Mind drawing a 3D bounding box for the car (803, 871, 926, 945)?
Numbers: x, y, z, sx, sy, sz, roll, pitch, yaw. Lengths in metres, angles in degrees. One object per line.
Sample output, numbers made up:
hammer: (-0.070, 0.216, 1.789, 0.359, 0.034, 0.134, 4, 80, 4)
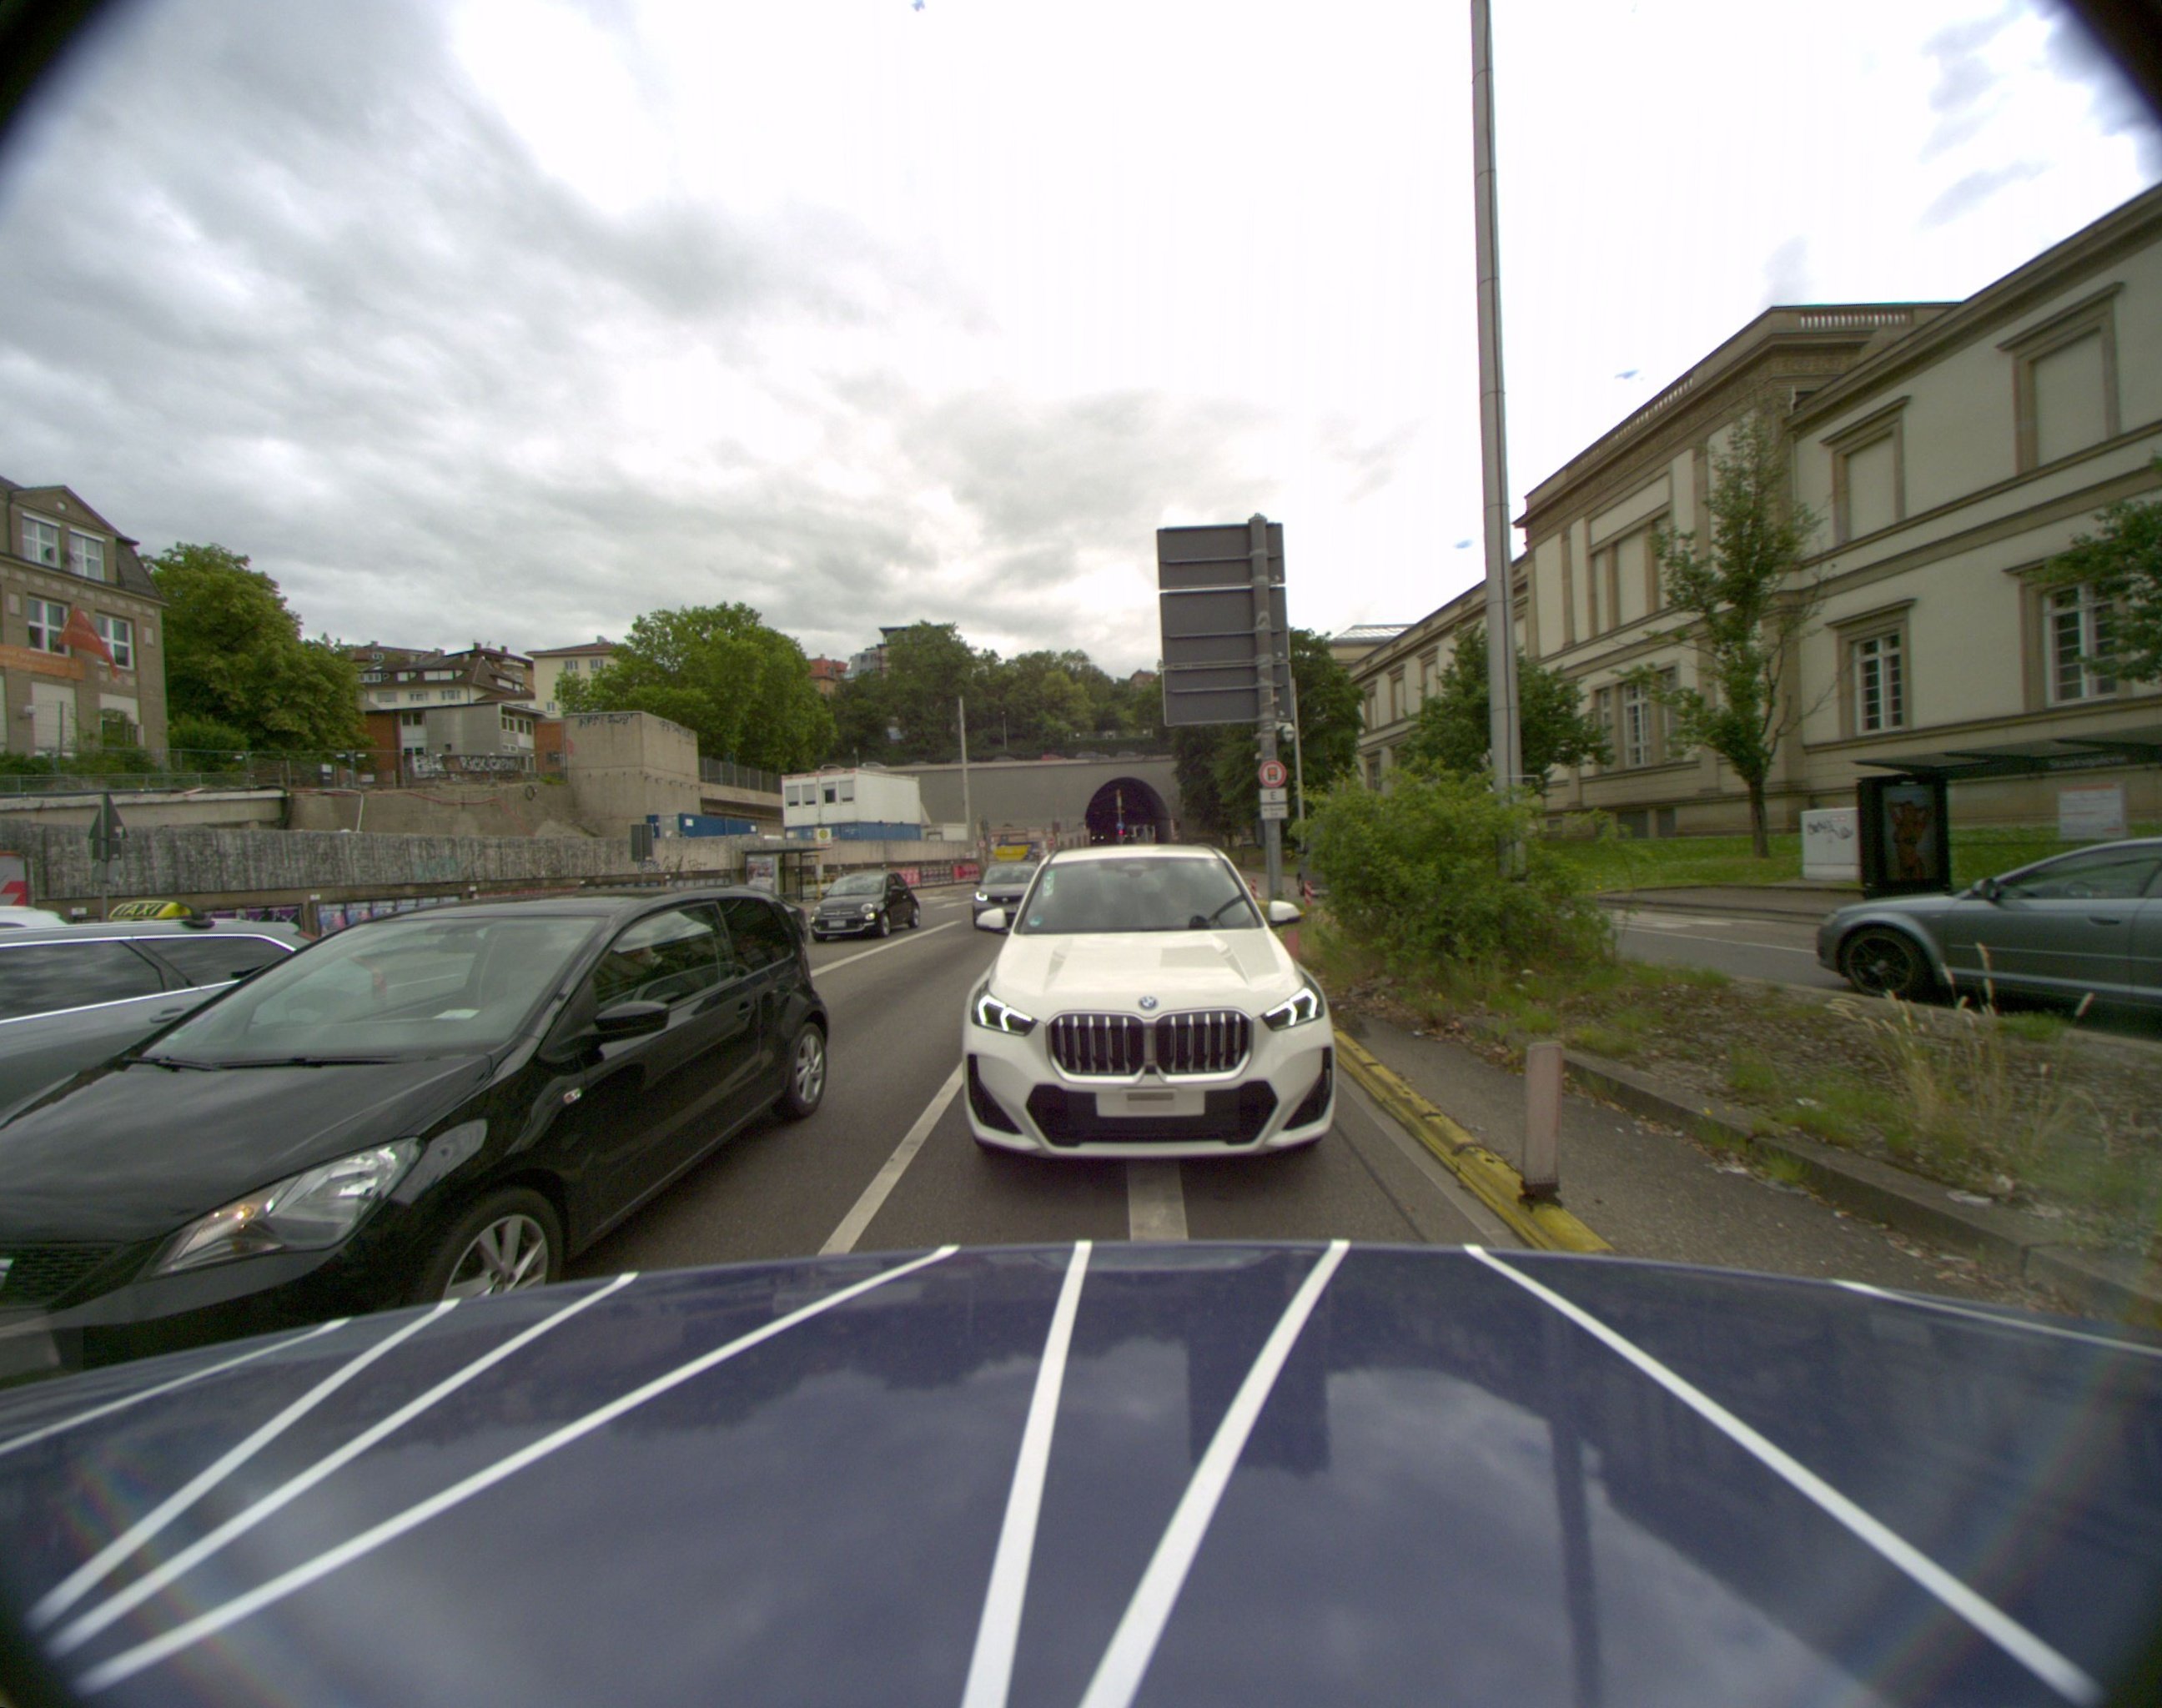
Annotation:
car: (-4.923, 1.167, 17.823, 1.680, 1.358, 3.806, -2, 1, 1)

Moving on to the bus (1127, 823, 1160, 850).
bus: (7.801, -2.214, 96.228, 3.171, 3.129, 9.118, -2, 1, -1)

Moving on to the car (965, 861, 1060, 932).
car: (-1.606, 0.983, 19.022, 1.720, 1.535, 3.576, -2, 0, 5)

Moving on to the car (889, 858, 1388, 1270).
car: (0.258, 0.875, 4.953, 1.987, 1.615, 3.670, -2, 0, 1)

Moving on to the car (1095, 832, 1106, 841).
car: (3.303, -2.840, 125.869, 1.680, 1.450, 3.807, -2, 1, 3)

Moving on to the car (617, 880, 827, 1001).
car: (-5.375, 1.224, 11.836, 1.665, 1.423, 3.155, -2, 1, 1)

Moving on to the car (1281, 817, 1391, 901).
car: (8.375, 0.160, 25.497, 2.203, 2.493, 4.759, -2, 0, 2)

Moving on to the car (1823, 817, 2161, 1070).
car: (7.797, 0.551, 5.085, 1.779, 1.609, 3.801, -2, 1, -5)

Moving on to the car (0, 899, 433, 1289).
car: (-5.861, 1.208, 3.314, 1.829, 1.615, 4.808, -2, 1, 1)

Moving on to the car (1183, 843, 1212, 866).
car: (9.361, 0.022, 61.389, 1.946, 1.714, 4.000, -2, 1, 4)

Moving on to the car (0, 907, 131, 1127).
car: (-9.111, 1.320, 4.455, 1.680, 1.615, 4.209, -2, 1, 1)

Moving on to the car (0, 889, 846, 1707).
car: (-2.576, 1.018, 3.354, 1.829, 1.450, 3.700, -2, 1, 1)
